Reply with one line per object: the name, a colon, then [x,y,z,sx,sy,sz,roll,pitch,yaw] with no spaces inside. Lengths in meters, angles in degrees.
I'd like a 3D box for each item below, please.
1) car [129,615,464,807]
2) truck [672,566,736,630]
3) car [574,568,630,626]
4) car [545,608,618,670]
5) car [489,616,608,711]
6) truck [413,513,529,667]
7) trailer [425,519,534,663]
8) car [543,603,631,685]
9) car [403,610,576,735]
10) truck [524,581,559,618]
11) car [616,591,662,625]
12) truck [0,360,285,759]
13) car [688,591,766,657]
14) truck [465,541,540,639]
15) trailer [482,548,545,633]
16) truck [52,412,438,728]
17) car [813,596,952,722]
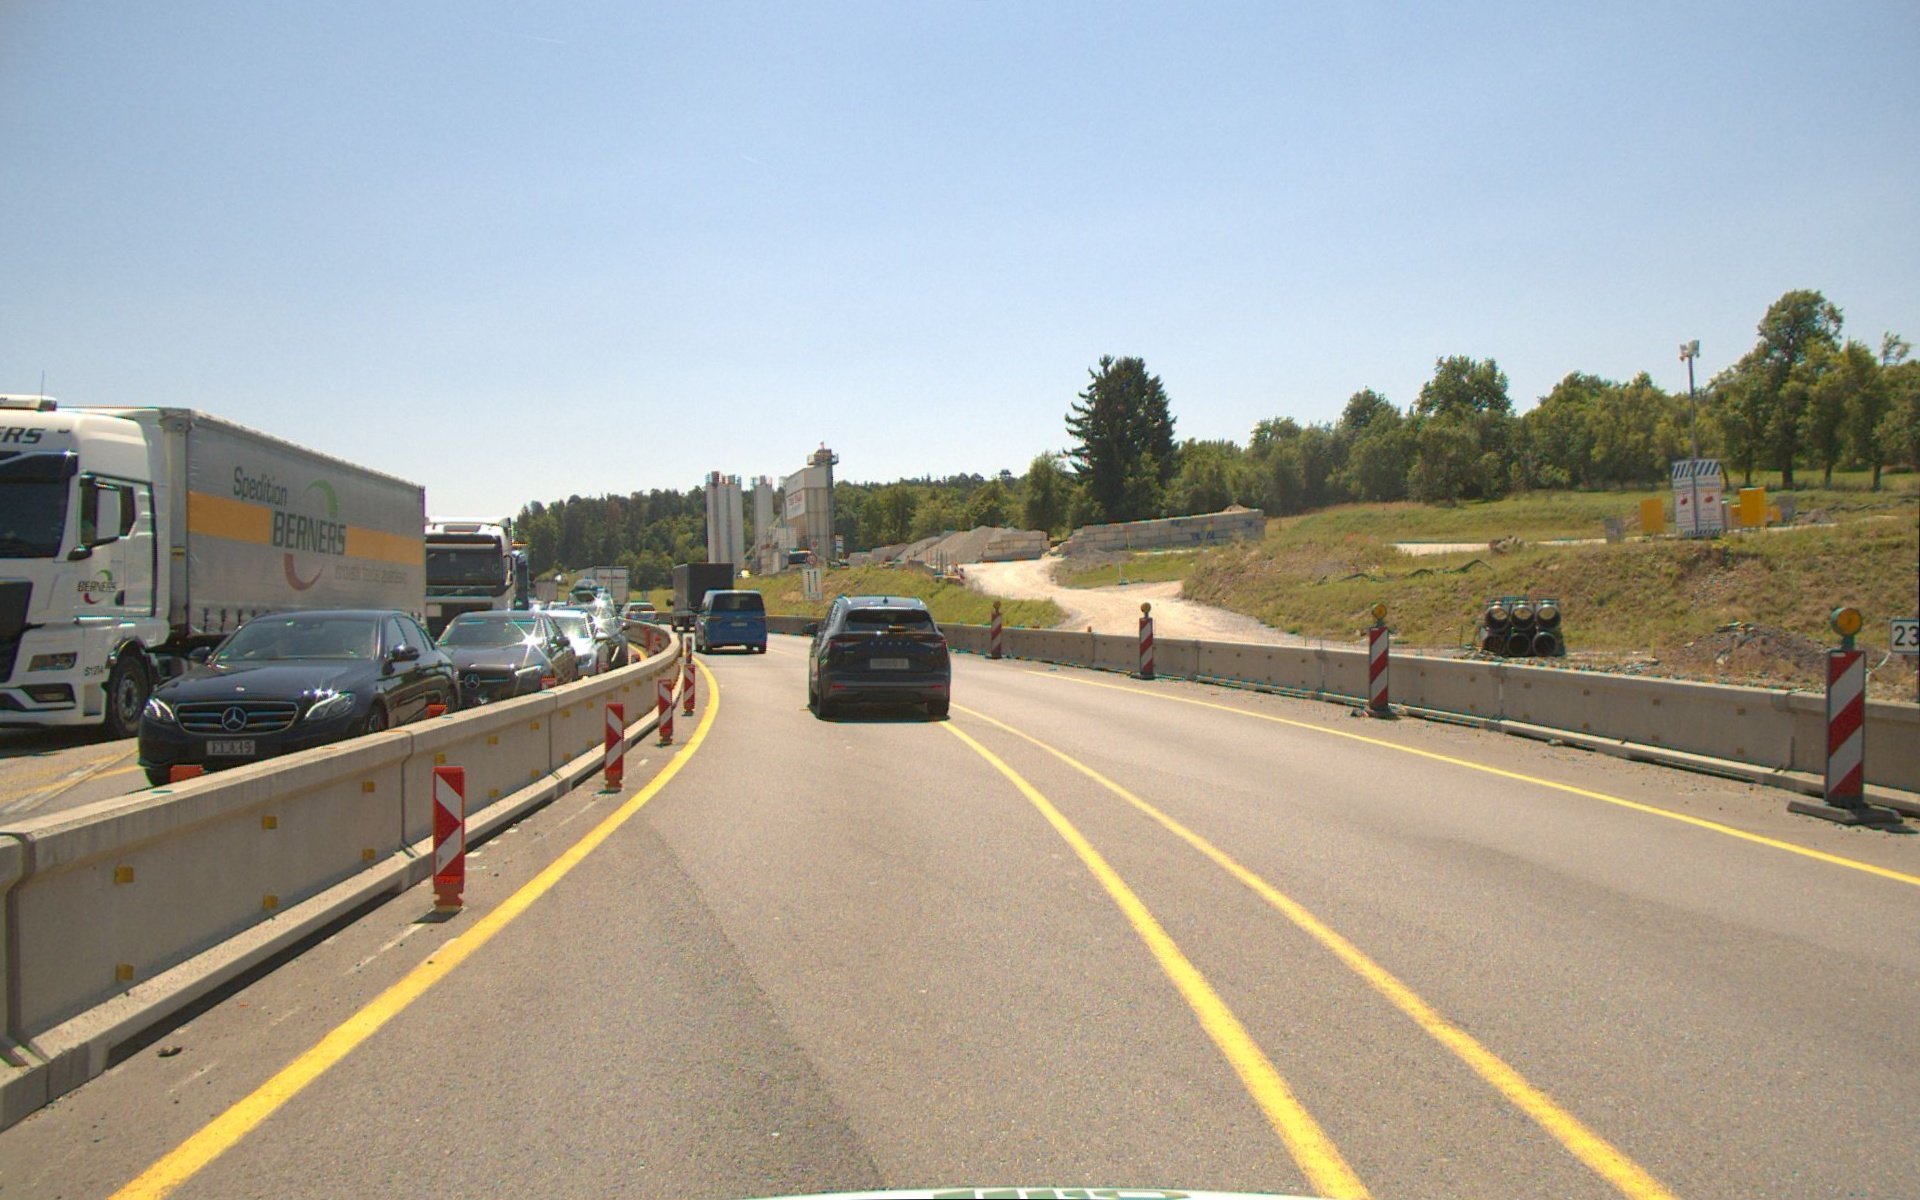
car: [-5.842,0.888,15.107,1.692,1.432,4.125,-1,0,-5]
truck: [-12.860,-0.108,82.802,2.628,2.996,5.601,-3,1,-13]
car: [-27.511,-0.246,126.810,3.382,4.173,9.154,1,0,-17]
car: [-9.728,0.953,42.797,1.705,1.441,4.783,-1,0,-12]
car: [-7.141,1.044,29.047,1.647,1.469,4.543,-1,0,-10]
truck: [-13.851,-0.284,47.241,2.653,4.038,6.178,-2,0,-13]
trailer: [-15.144,-0.283,52.764,2.658,4.047,11.204,-2,0,-13]
car: [-7.993,0.896,35.719,1.647,1.571,4.108,0,1,-10]
car: [-6.342,0.907,22.687,1.624,1.478,4.241,-1,0,-7]
truck: [-49.578,-0.124,195.682,3.421,4.294,10.326,0,0,-17]
car: [-15.894,0.388,81.829,2.010,1.553,5.049,-3,0,-13]
truck: [-11.037,-0.443,21.091,2.717,4.334,6.192,-2,0,-6]
car: [-7.254,0.696,51.198,1.960,1.876,3.986,-1,1,-14]
truck: [-21.328,-0.479,77.519,2.725,4.210,10.835,-2,0,-13]
trailer: [-23.337,-0.489,86.750,2.689,4.210,8.160,-2,0,-12]
truck: [-11.843,-0.476,29.024,2.720,4.352,11.764,-2,0,-6]
car: [-1.186,0.764,23.679,1.806,1.609,3.996,0,0,-5]
